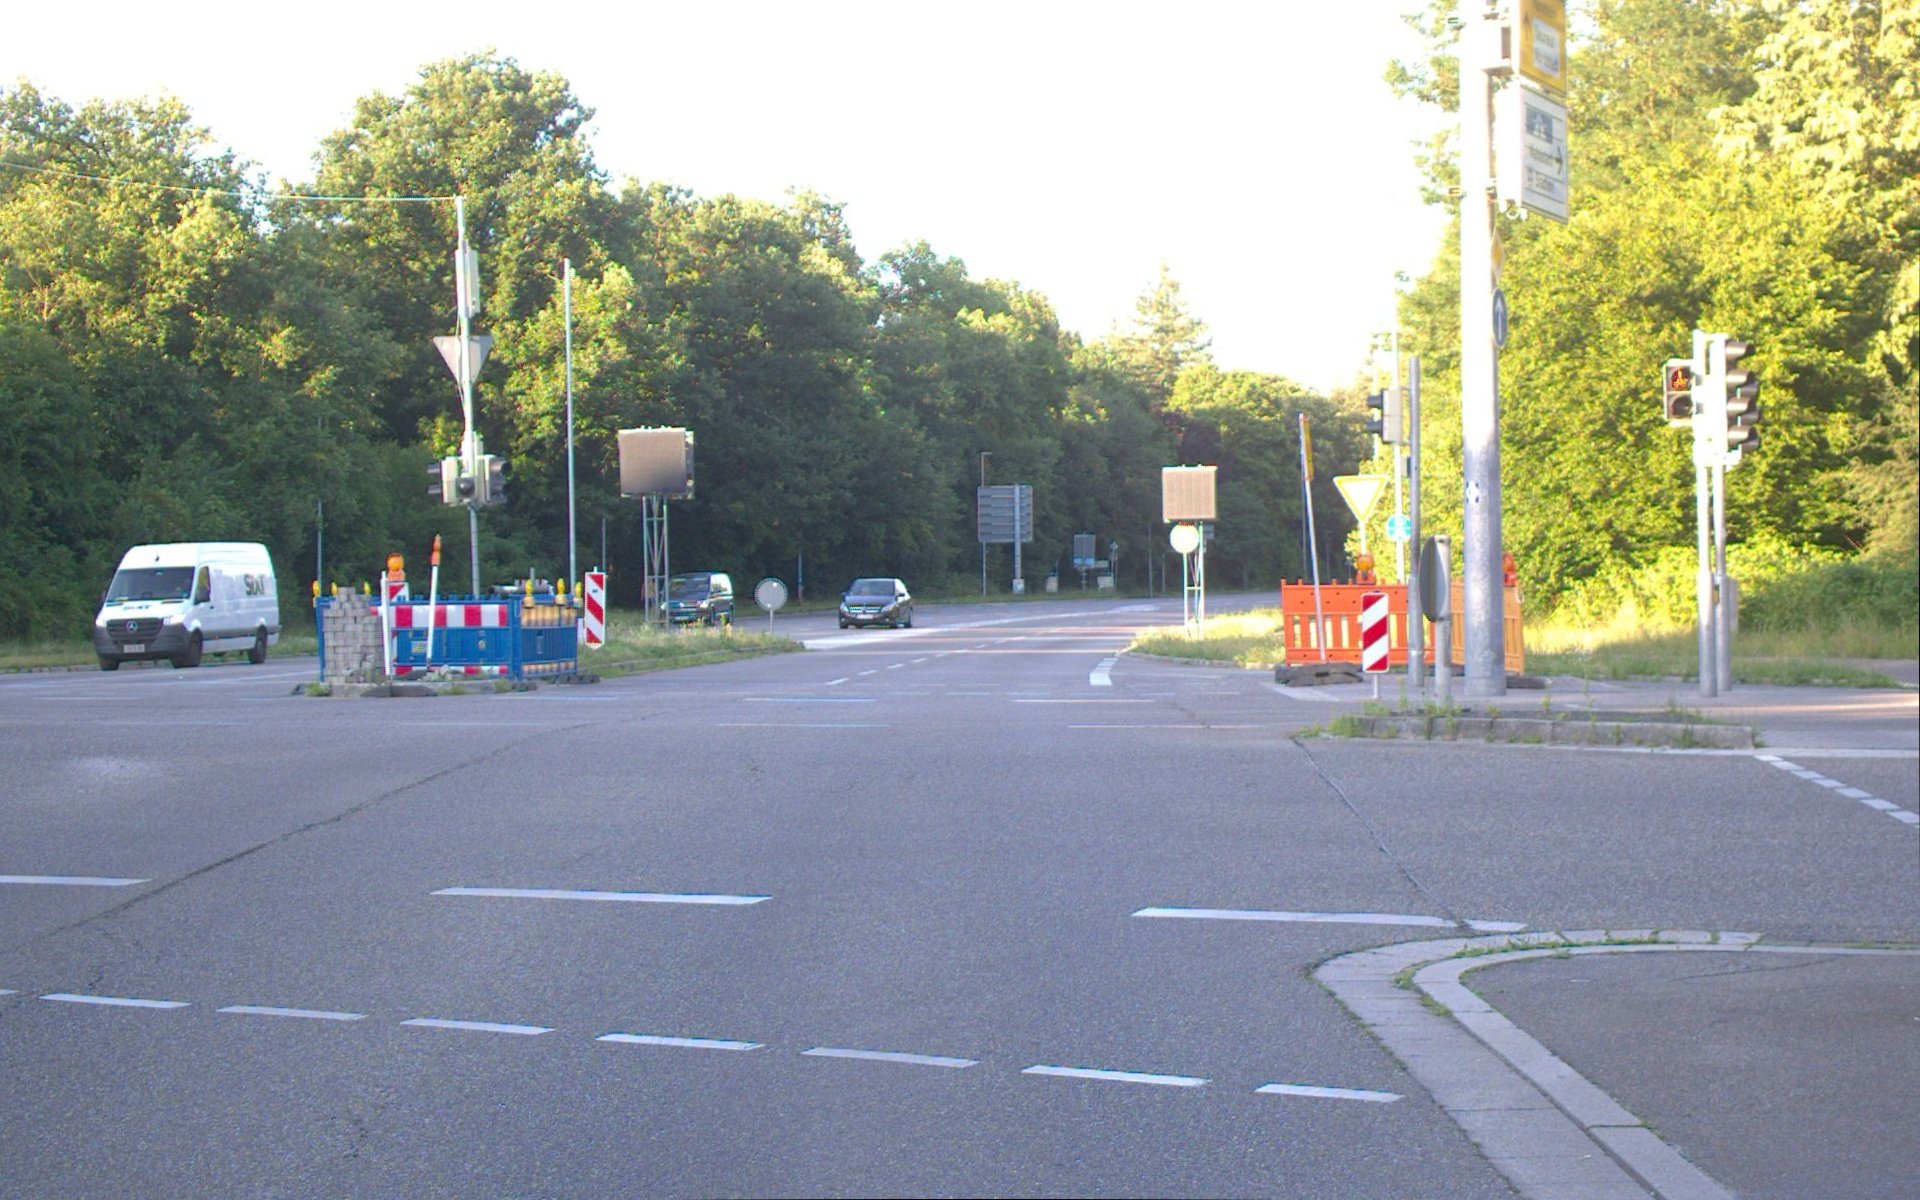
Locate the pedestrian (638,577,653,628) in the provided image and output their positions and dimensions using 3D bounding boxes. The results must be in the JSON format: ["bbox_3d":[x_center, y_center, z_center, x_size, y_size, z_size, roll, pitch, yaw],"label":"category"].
[{"bbox_3d":[-12.530,0.100,137.076,0.521,2.007,0.600,1,0,-1],"label":"pedestrian"}]

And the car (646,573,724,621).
[{"bbox_3d":[-9.777,-0.131,122.664,1.994,1.634,3.999,0,1,7],"label":"car"}]

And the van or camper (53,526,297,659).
[{"bbox_3d":[-16.432,-0.208,72.456,2.886,2.643,7.120,0,1,6],"label":"van or camper"}]

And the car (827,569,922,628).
[{"bbox_3d":[-2.595,-0.069,105.364,1.994,1.634,3.998,-2,2,12],"label":"car"}]
